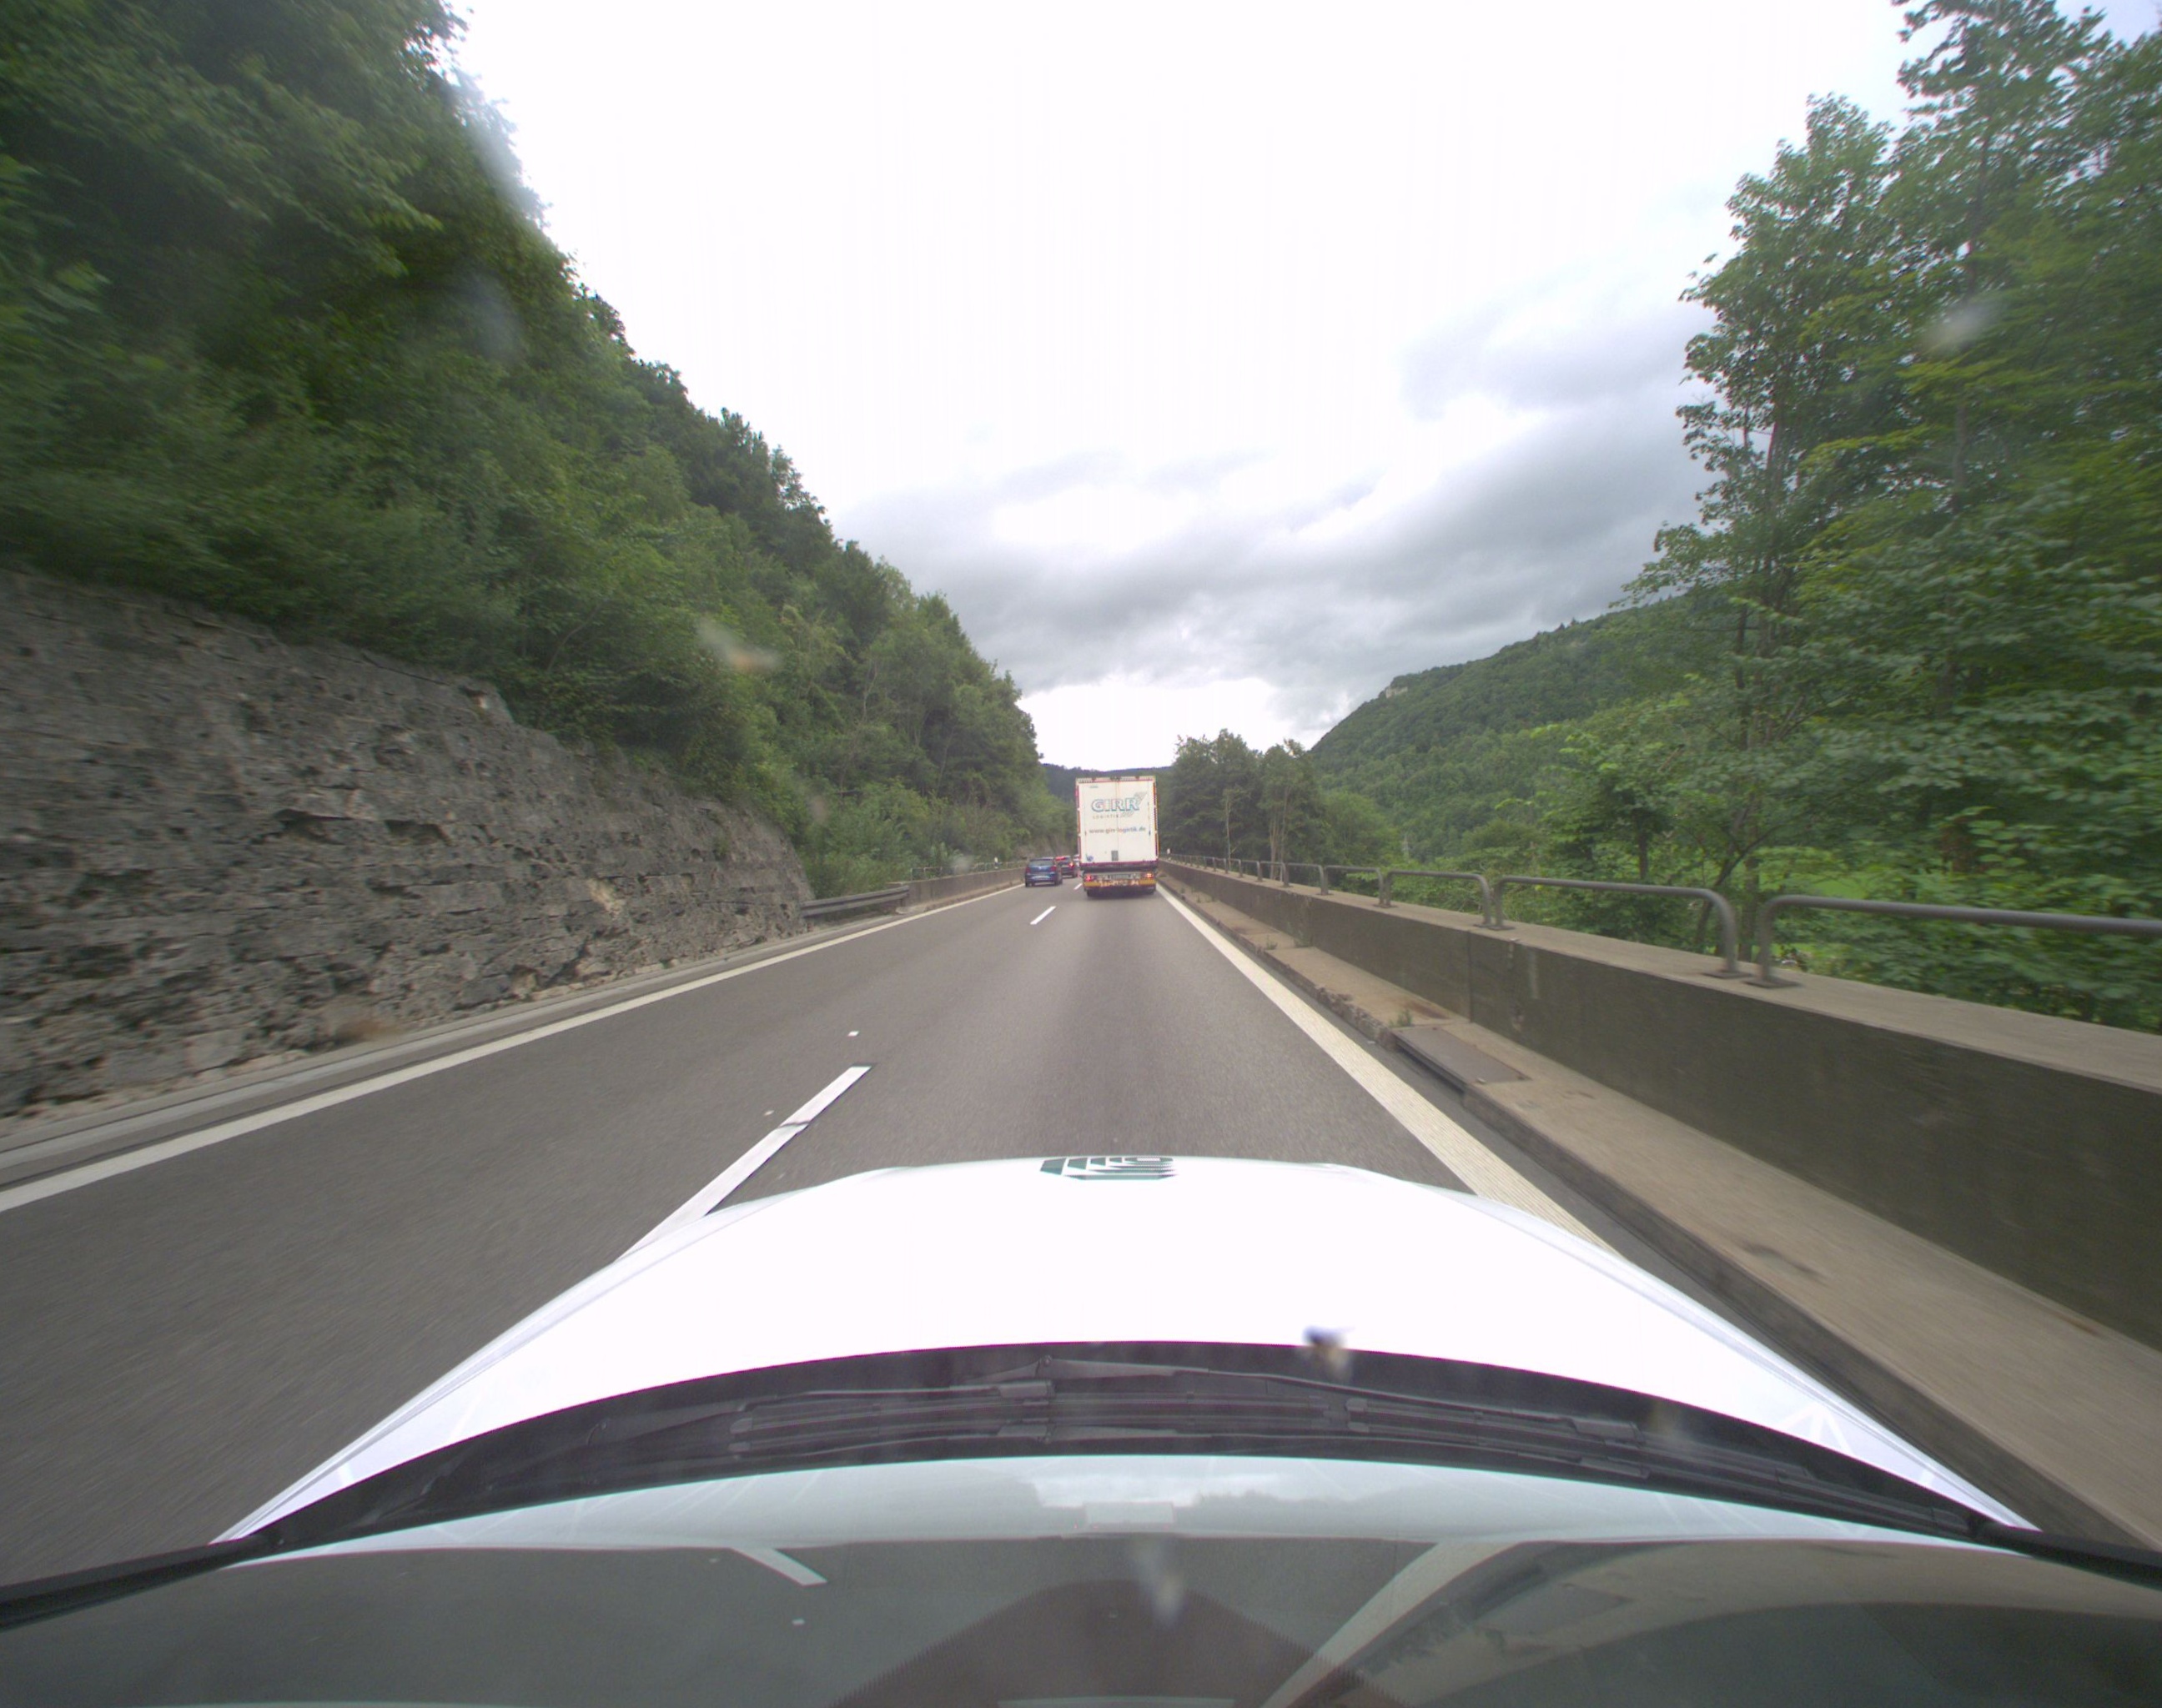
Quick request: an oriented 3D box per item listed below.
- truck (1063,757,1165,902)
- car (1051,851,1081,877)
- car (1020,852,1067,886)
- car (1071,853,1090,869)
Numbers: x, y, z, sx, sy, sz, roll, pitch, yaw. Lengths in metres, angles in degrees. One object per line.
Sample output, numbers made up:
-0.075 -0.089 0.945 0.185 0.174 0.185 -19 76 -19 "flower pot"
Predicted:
1.496 -0.787 33.253 3.071 4.464 15.169 -2 0 3 "truck"
-0.942 0.630 53.153 1.739 1.587 4.001 -2 0 2 "car"
-1.853 0.728 41.514 1.986 1.596 4.355 -1 0 2 "car"
-0.022 0.652 81.926 1.739 1.486 4.002 -2 0 2 "car"
